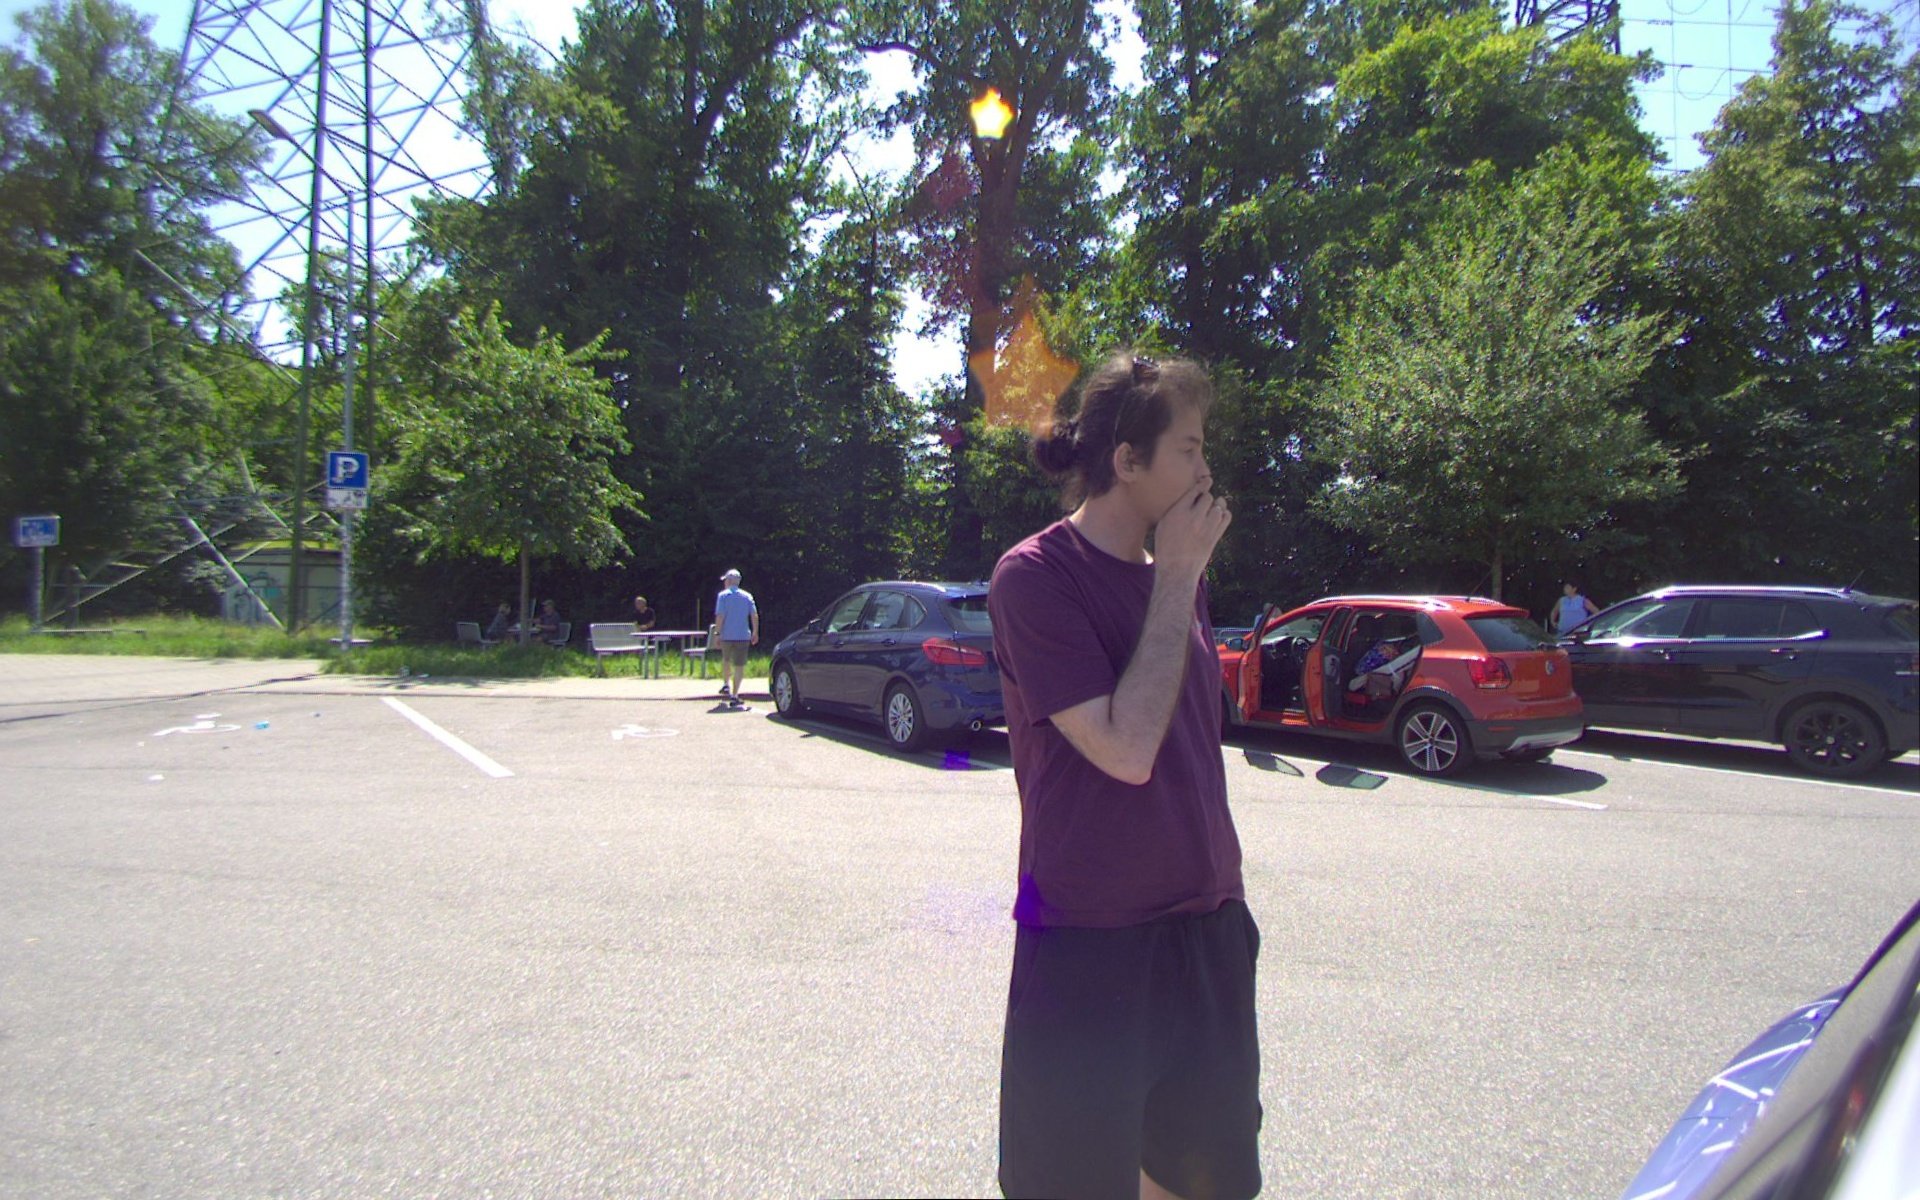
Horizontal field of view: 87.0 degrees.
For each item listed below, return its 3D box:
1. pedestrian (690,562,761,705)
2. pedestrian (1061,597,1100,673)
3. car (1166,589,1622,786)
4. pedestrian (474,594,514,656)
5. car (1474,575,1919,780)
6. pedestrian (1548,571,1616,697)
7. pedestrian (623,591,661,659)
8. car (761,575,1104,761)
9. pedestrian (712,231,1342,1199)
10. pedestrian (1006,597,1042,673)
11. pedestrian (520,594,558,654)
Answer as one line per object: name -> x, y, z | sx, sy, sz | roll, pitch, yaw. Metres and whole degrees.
pedestrian -> -2.956, 0.405, 12.811 | 0.663, 1.754, 0.833 | 0, 0, 3
pedestrian -> 2.017, 0.578, 17.008 | 0.576, 1.251, 0.697 | 0, -1, 1
car -> 3.857, 0.642, 9.586 | 1.559, 1.467, 3.737 | 1, 0, -33
pedestrian -> -10.518, 0.553, 22.830 | 0.687, 1.352, 0.563 | 0, 0, -40
car -> 7.222, 0.592, 9.702 | 1.707, 1.607, 3.732 | 1, 0, -39
pedestrian -> 9.394, 0.494, 15.295 | 0.755, 1.854, 0.518 | 0, 0, 18
pedestrian -> -6.688, 0.519, 21.308 | 0.553, 1.408, 0.700 | 0, 0, 2
car -> -0.481, 0.554, 10.658 | 1.776, 1.562, 3.940 | 1, 0, -34
pedestrian -> 0.168, 0.480, 1.753 | 0.849, 1.857, 0.860 | 0, 0, 16
pedestrian -> 1.069, 0.583, 17.074 | 0.576, 1.251, 0.697 | 0, -1, 1
pedestrian -> -9.760, 0.543, 23.469 | 0.687, 1.352, 0.563 | 0, 0, -40
